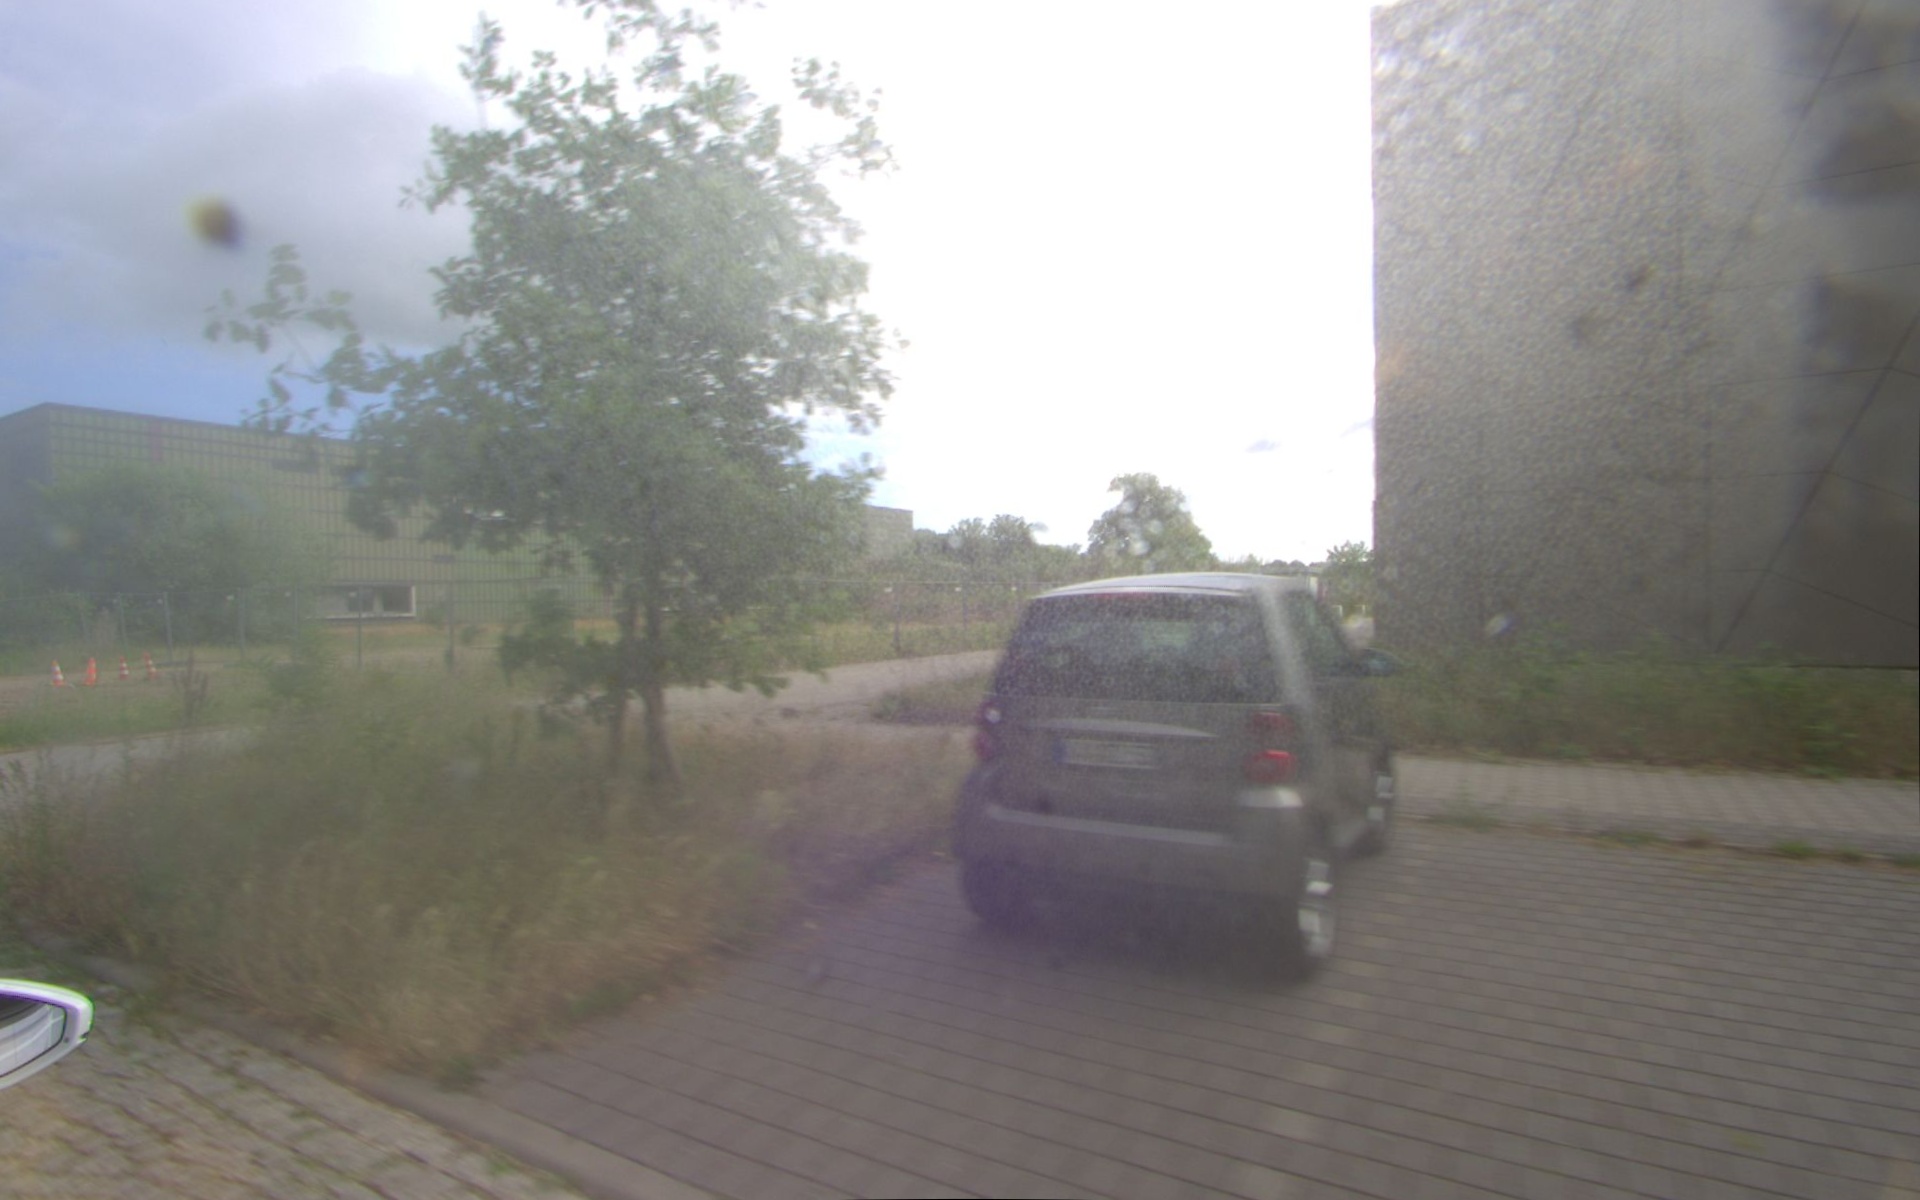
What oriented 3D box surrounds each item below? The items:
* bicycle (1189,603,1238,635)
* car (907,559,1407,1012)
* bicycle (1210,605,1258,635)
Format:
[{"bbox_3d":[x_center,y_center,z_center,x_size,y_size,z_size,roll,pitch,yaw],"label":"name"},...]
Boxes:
[{"bbox_3d":[8.925,0.666,35.322,1.638,1.100,0.508,-1,1,41],"label":"bicycle"},{"bbox_3d":[1.189,0.624,5.111,1.630,1.578,2.703,0,3,32],"label":"car"},{"bbox_3d":[10.171,0.728,37.211,1.638,1.100,0.508,-1,1,41],"label":"bicycle"}]
